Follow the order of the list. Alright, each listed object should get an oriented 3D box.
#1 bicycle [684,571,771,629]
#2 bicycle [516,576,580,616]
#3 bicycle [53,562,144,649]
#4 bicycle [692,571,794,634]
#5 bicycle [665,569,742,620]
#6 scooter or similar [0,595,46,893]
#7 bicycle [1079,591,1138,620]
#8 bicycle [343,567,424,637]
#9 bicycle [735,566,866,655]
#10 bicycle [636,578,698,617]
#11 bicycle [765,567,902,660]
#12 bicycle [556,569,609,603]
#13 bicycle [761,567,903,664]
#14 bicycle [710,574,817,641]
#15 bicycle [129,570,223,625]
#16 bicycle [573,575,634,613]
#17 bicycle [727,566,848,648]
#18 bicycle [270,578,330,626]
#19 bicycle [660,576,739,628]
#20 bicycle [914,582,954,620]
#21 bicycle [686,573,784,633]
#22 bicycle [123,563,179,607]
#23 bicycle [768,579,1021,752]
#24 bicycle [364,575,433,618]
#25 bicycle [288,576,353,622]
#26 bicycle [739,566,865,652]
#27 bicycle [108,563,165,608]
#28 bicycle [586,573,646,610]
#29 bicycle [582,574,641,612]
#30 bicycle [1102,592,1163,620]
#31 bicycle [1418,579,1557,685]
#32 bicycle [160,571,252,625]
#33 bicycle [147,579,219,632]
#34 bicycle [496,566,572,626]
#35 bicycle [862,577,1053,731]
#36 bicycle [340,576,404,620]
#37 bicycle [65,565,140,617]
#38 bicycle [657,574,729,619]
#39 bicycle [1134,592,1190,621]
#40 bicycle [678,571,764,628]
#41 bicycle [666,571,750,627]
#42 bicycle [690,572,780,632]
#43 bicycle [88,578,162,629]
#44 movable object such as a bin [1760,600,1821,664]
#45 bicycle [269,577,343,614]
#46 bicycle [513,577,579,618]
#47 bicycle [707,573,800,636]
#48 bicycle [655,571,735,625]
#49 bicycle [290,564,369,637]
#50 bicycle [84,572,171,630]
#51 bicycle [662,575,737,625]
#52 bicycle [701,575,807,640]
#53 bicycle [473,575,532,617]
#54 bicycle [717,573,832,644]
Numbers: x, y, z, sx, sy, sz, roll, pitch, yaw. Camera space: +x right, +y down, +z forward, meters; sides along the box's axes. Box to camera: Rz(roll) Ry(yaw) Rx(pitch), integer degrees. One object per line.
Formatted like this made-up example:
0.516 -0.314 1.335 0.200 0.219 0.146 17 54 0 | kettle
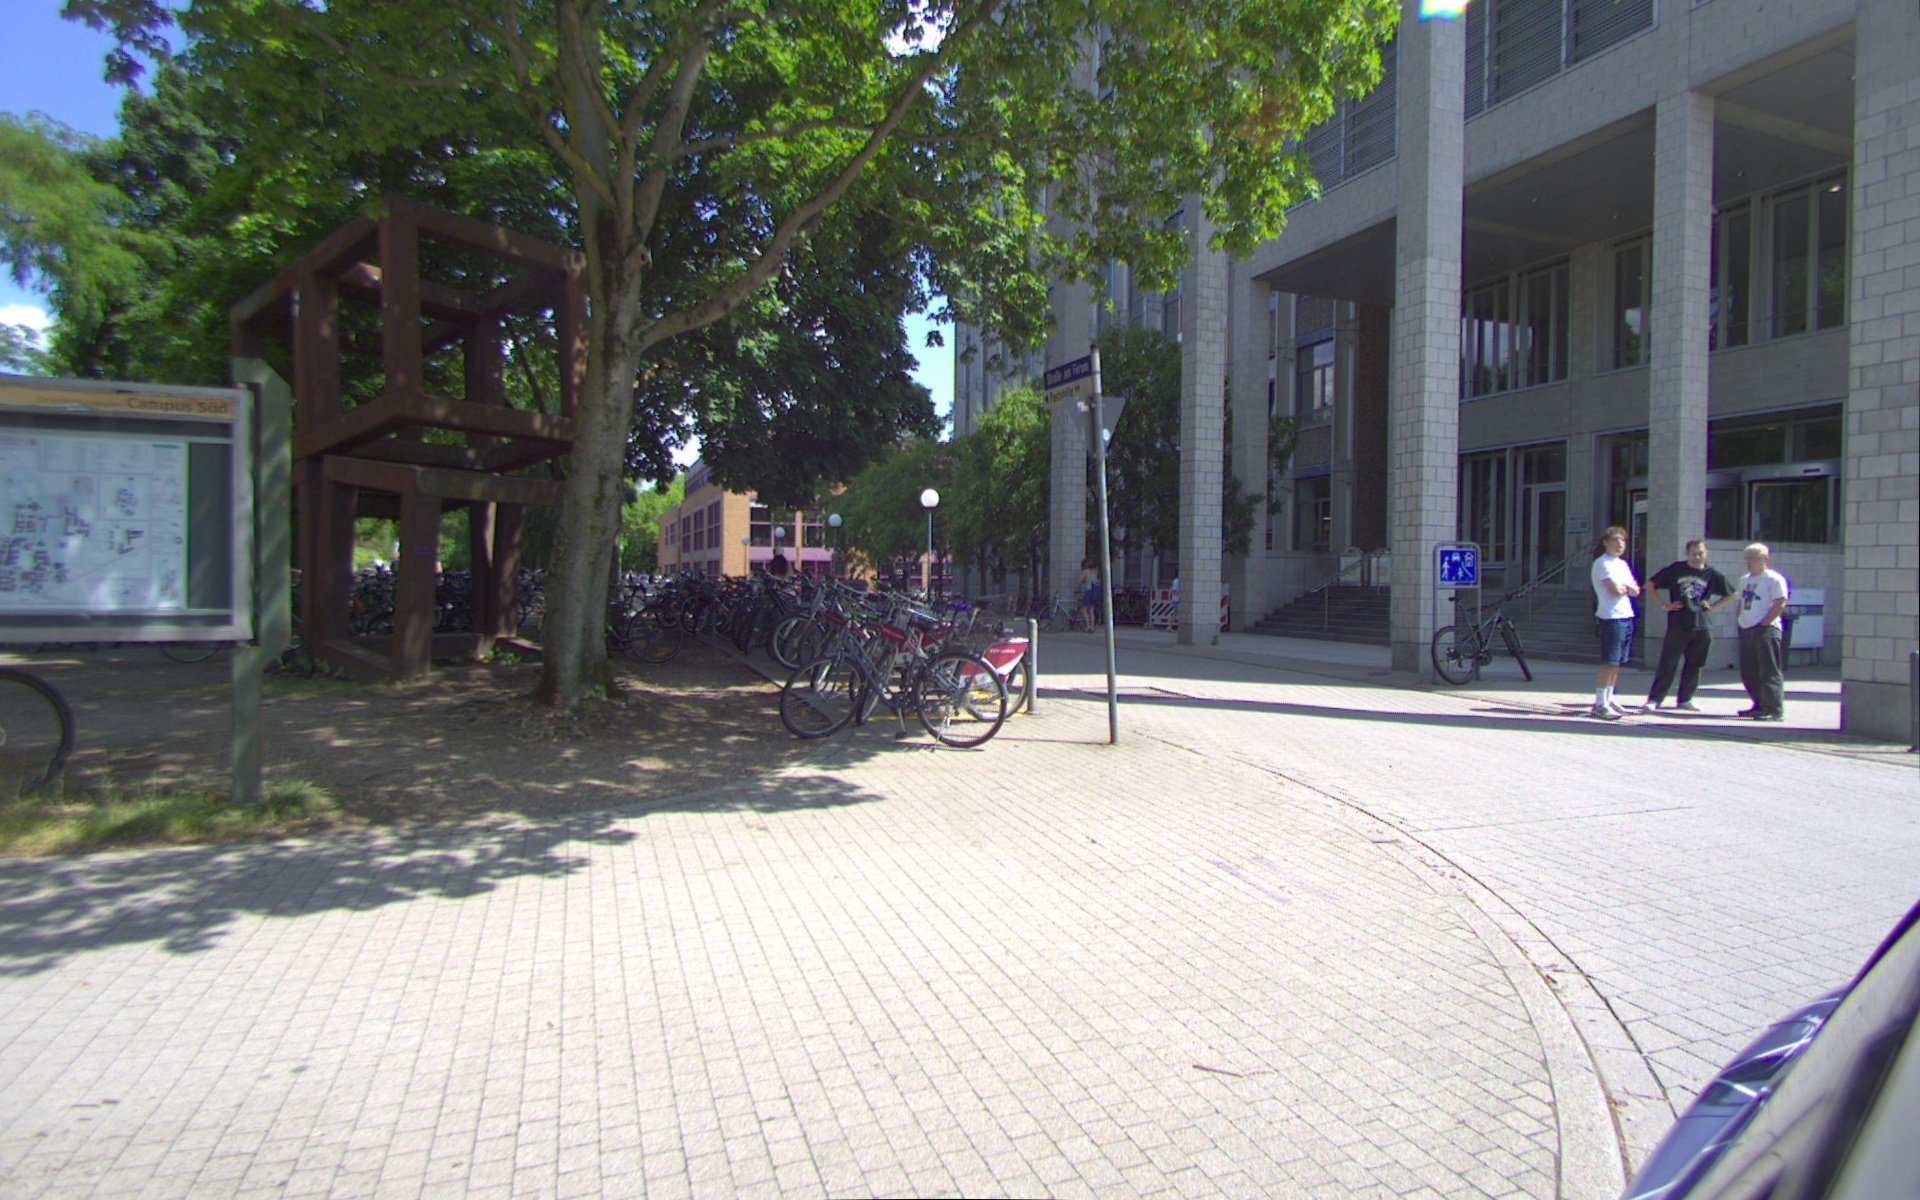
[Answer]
-4.664 0.015 20.343 1.653 1.144 0.455 1 -2 -26 | bicycle
-11.476 -0.109 28.211 1.661 1.098 0.477 0 -2 11 | bicycle
-12.286 0.057 14.420 1.829 1.185 0.409 1 1 30 | bicycle
-3.812 0.057 17.796 1.653 1.061 0.618 1 -2 -26 | bicycle
-5.919 -0.108 23.413 1.653 1.144 0.479 1 -2 -26 | bicycle
-4.311 0.535 3.807 1.337 1.128 0.497 2 1 4 | scooter or similar
4.420 0.156 30.256 0.631 0.769 1.992 1 2 -31 | bicycle
-10.269 0.019 18.011 1.829 1.185 0.409 1 1 30 | bicycle
-2.183 0.147 13.780 1.660 1.139 0.629 2 2 -16 | bicycle
-8.481 -0.049 29.321 1.653 1.098 0.479 1 -2 -26 | bicycle
-1.642 0.170 13.089 1.660 1.139 0.567 2 2 -16 | bicycle
-12.329 -0.449 33.056 1.664 1.098 0.476 0 -2 16 | bicycle
-1.596 0.193 12.568 1.660 1.139 0.483 2 2 -16 | bicycle
-3.199 0.134 16.467 1.661 1.061 0.619 0 -2 -13 | bicycle
-14.784 -0.058 19.074 1.880 0.991 0.476 1 2 20 | bicycle
-10.449 -0.169 29.659 1.661 1.098 0.477 0 -2 11 | bicycle
-2.565 0.116 15.129 1.662 1.165 0.628 1 -2 -30 | bicycle
-15.346 0.051 23.521 1.453 1.098 0.350 -1 -2 20 | bicycle
-5.881 0.058 22.864 1.653 1.144 0.455 1 -2 -26 | bicycle
-0.822 0.022 30.959 0.558 1.117 1.837 1 0 -23 | bicycle
-4.061 0.067 18.323 1.653 1.061 0.502 1 -2 -26 | bicycle
-20.737 -0.401 25.942 1.591 1.107 0.346 1 2 21 | bicycle
-0.468 0.440 7.442 1.758 1.155 0.604 1 3 12 | bicycle
-14.546 -0.084 26.222 1.661 1.098 0.477 0 -2 11 | bicycle
-15.624 -0.014 24.720 1.447 1.098 0.352 0 -2 9 | bicycle
-2.269 0.124 14.511 1.660 1.164 0.629 1 2 -20 | bicycle
-20.849 -0.384 25.615 1.591 1.107 0.346 1 2 21 | bicycle
-10.531 -0.257 30.982 1.655 1.098 0.479 0 -2 -3 | bicycle
-10.374 -0.197 30.129 1.661 1.098 0.477 0 -2 11 | bicycle
5.175 0.167 30.467 0.631 0.769 1.992 1 2 -31 | bicycle
6.720 0.373 12.881 1.792 1.257 0.533 -1 1 -22 | bicycle
-14.577 -0.044 19.564 1.880 0.991 0.476 1 2 20 | bicycle
-16.281 0.124 21.209 1.450 1.098 0.351 -1 -2 14 | bicycle
-8.670 -0.100 20.559 1.829 1.185 0.409 1 1 30 | bicycle
-0.019 0.406 8.317 1.459 1.155 0.563 -1 3 -24 | bicycle
-14.850 -0.043 25.557 1.669 1.098 0.475 -1 -2 23 | bicycle
-17.122 -0.197 20.204 1.781 0.991 0.376 1 2 23 | bicycle
-6.588 -0.071 24.992 1.653 1.098 0.479 1 -2 -26 | bicycle
6.088 0.187 30.628 0.630 0.769 1.994 1 2 -24 | bicycle
-4.924 0.007 20.871 1.653 1.144 0.455 1 -2 -26 | bicycle
-5.303 -0.011 21.332 1.653 1.144 0.455 1 -2 -26 | bicycle
-4.381 0.051 19.755 1.653 1.144 0.455 1 -2 -26 | bicycle
-16.974 0.053 20.558 1.781 0.991 0.376 1 2 23 | bicycle
13.122 0.495 15.998 0.501 0.961 0.515 0 3 -23 | movable object such as a bin
-18.555 -0.152 28.760 0.580 0.942 1.738 3 4 25 | bicycle
-11.318 -0.071 27.688 1.661 1.098 0.477 0 -2 11 | bicycle
-3.877 0.100 19.042 1.653 1.144 0.455 1 -2 -26 | bicycle
-5.837 -0.028 22.325 1.653 1.144 0.455 1 -2 -26 | bicycle
-10.664 -0.018 17.108 1.832 1.185 0.431 1 1 34 | bicycle
-15.176 0.002 18.433 1.884 0.991 0.474 1 2 26 | bicycle
-6.168 0.019 23.962 1.653 1.144 0.479 1 -2 -26 | bicycle
-3.478 0.141 17.151 1.653 1.061 0.618 1 -2 -26 | bicycle
-12.102 -0.098 26.763 1.446 1.098 0.352 0 -2 7 | bicycle
-2.870 0.140 15.722 1.662 1.061 0.569 1 -2 -29 | bicycle
